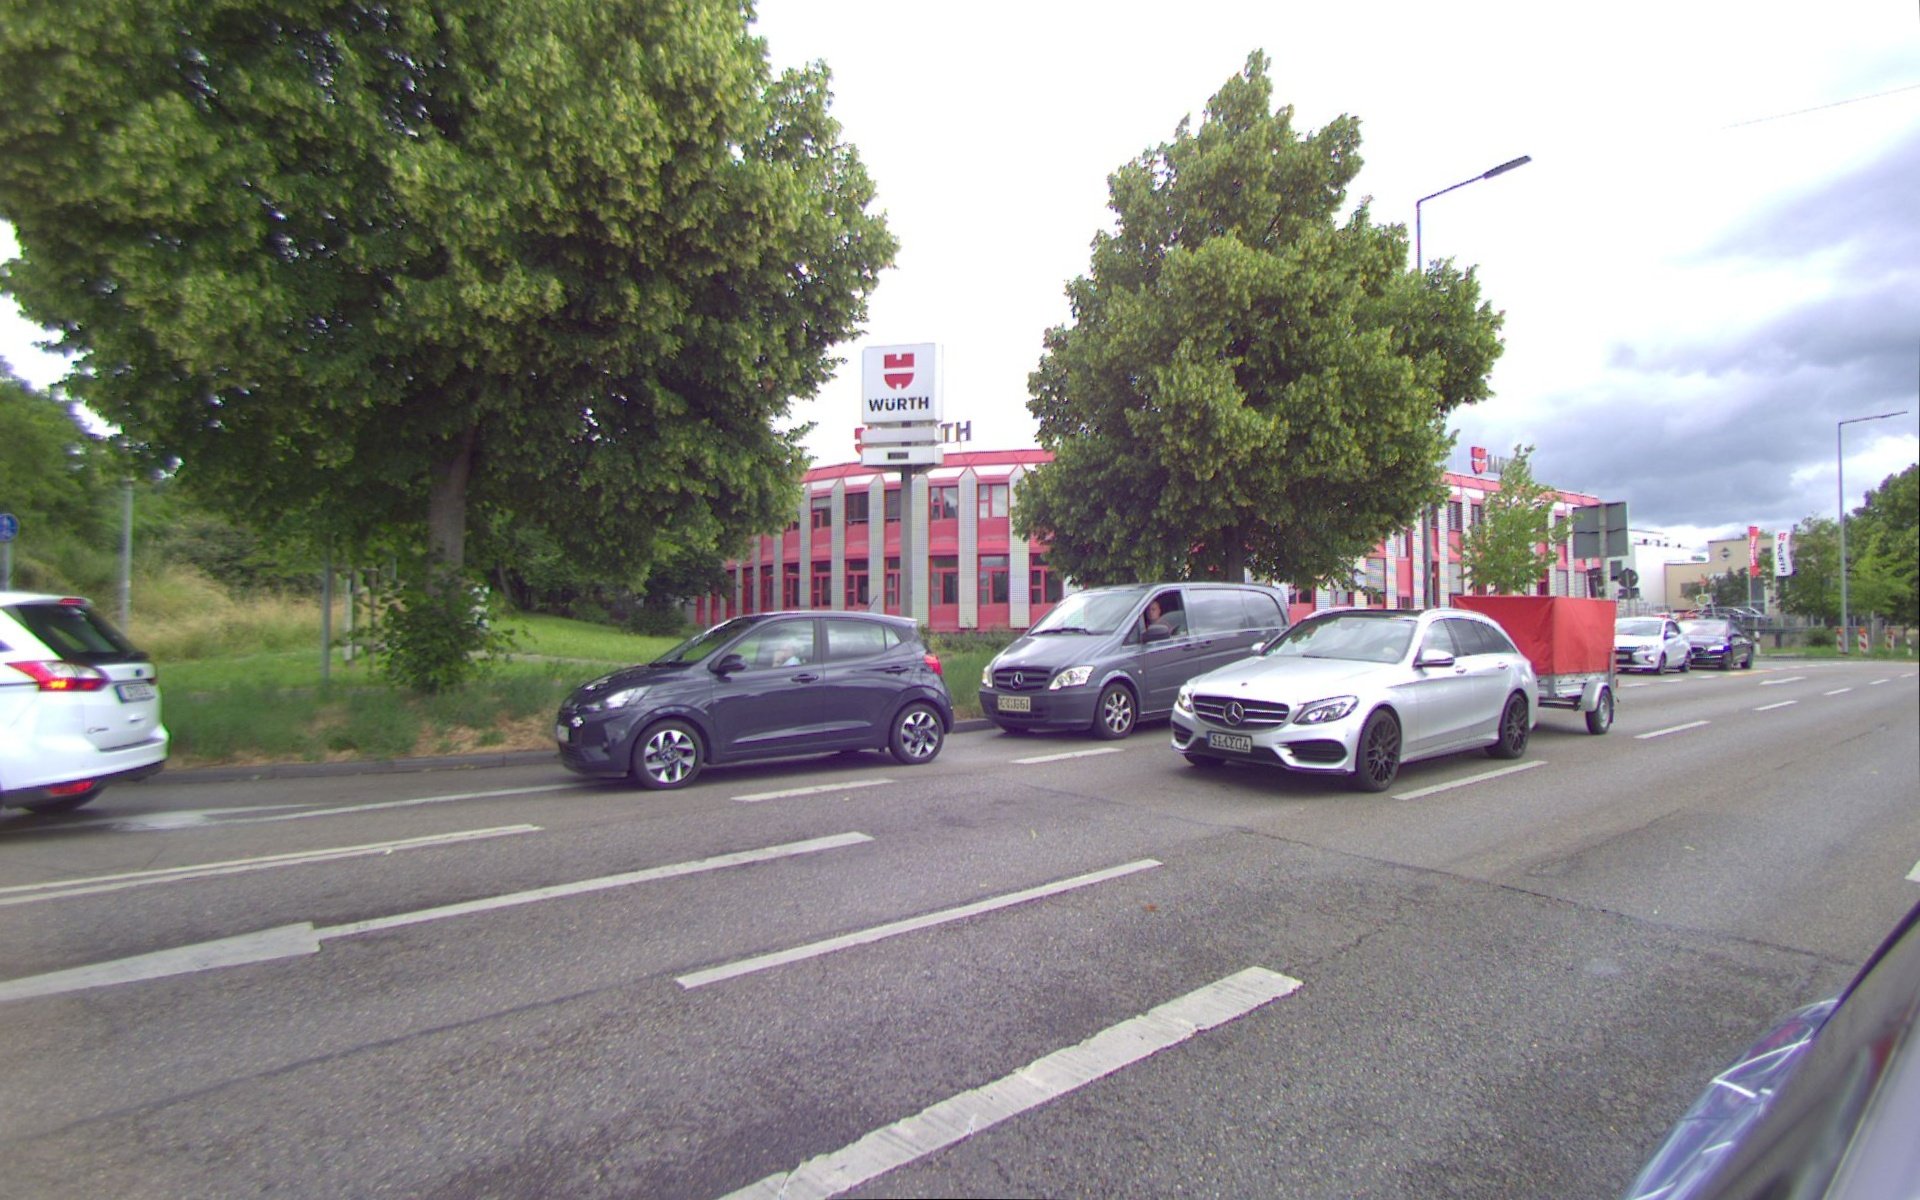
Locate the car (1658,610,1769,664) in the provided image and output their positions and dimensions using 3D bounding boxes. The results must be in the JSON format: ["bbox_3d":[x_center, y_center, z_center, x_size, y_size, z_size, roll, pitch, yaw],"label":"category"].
[{"bbox_3d":[22.203,1.036,29.748,4.293,1.458,1.761,0,-1,-41],"label":"car"}]

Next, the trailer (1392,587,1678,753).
[{"bbox_3d":[7.046,0.691,12.252,3.926,1.680,1.774,-1,0,-40],"label":"trailer"}]

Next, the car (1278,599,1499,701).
[{"bbox_3d":[7.400,0.804,17.326,4.034,1.536,1.842,0,-4,-41],"label":"car"}]

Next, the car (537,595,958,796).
[{"bbox_3d":[-1.932,0.770,9.482,3.495,1.526,1.607,-1,-3,-34],"label":"car"}]

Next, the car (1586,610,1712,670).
[{"bbox_3d":[18.386,1.005,26.943,4.293,1.458,1.761,0,-1,-41],"label":"car"}]

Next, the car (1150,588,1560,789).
[{"bbox_3d":[3.880,0.637,9.572,4.323,1.469,1.774,-1,1,-40],"label":"car"}]

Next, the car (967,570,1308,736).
[{"bbox_3d":[2.429,0.630,13.113,4.591,1.798,1.761,1,-4,-40],"label":"car"}]

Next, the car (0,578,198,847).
[{"bbox_3d":[-7.849,0.692,6.574,4.277,1.676,1.768,0,0,-20],"label":"car"}]

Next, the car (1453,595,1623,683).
[{"bbox_3d":[12.384,0.809,21.586,4.133,1.679,1.863,1,-3,-41],"label":"car"}]
